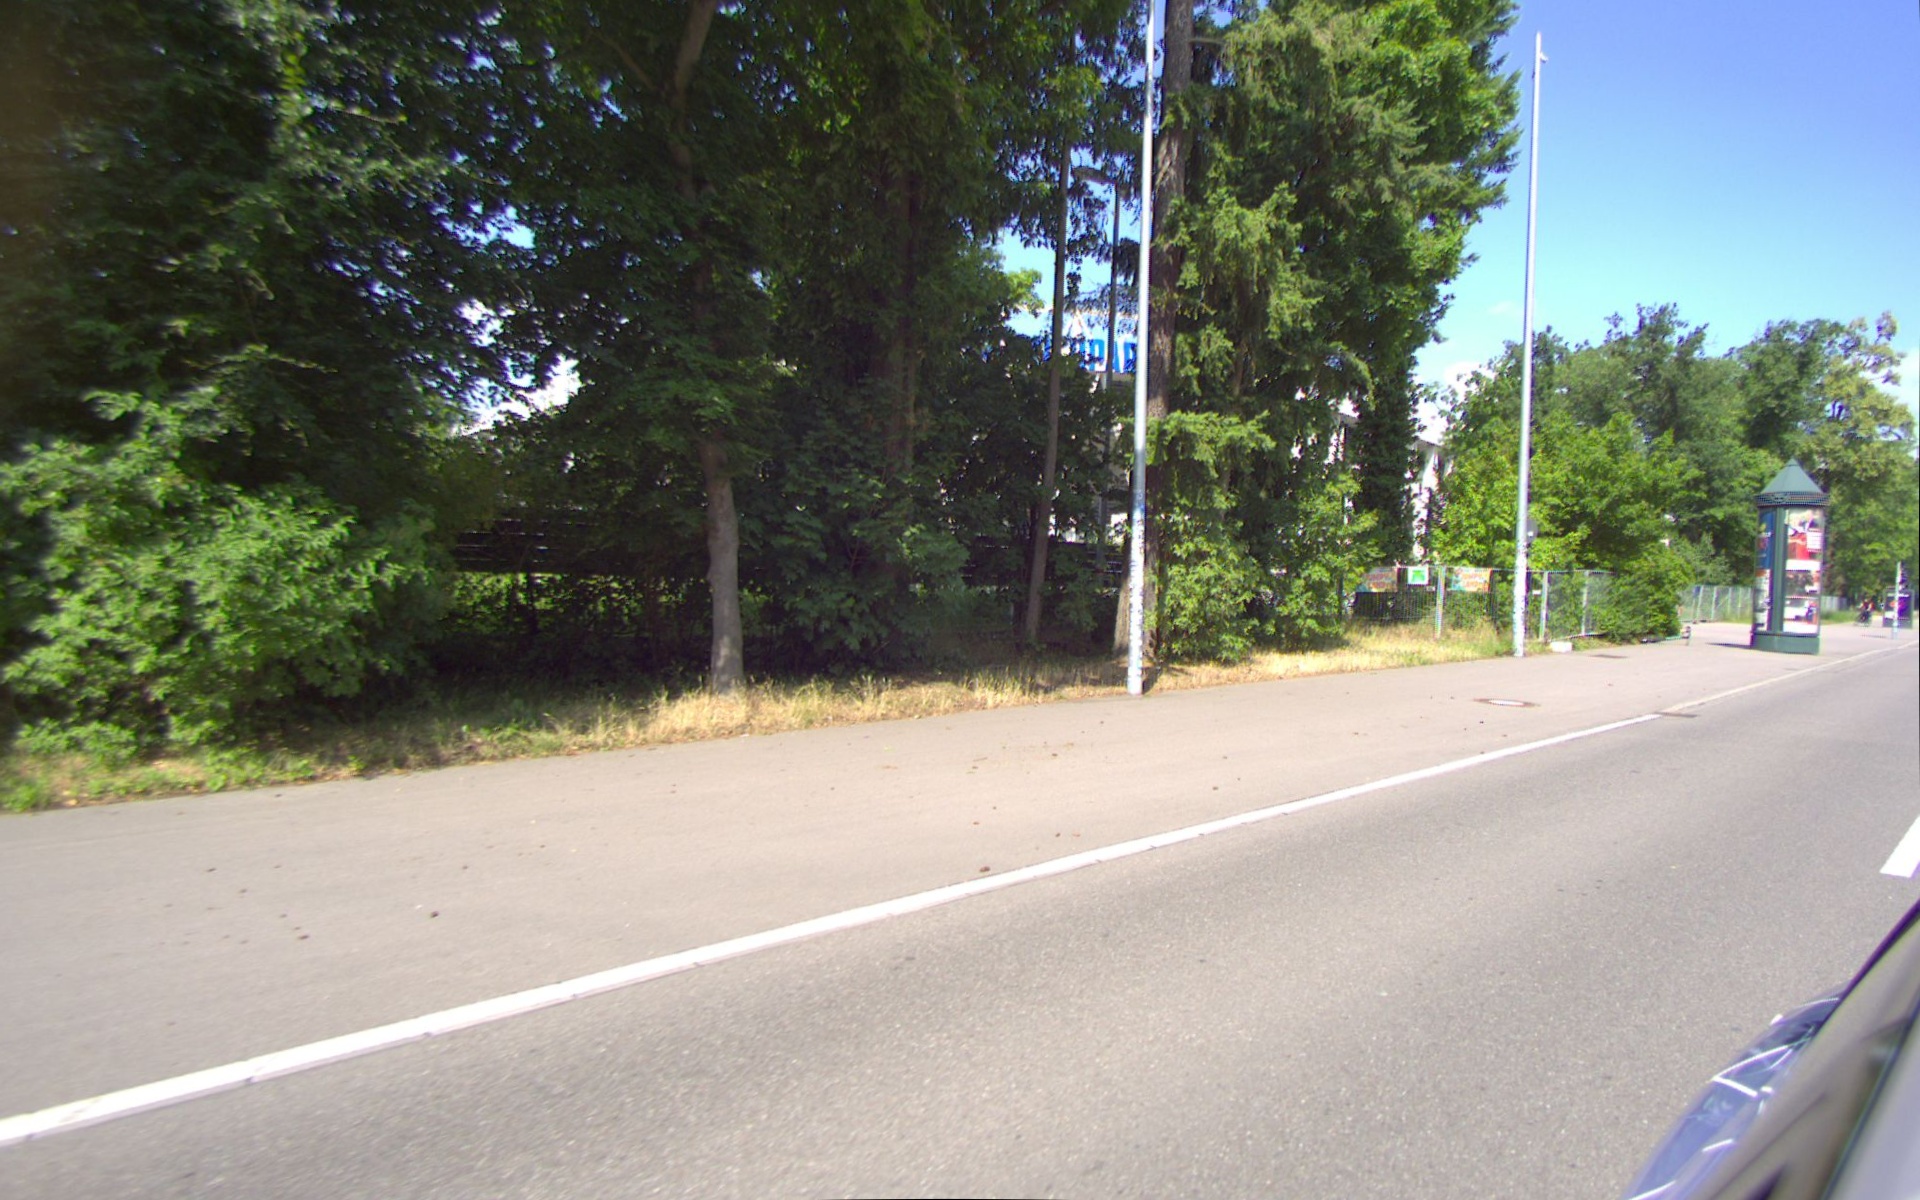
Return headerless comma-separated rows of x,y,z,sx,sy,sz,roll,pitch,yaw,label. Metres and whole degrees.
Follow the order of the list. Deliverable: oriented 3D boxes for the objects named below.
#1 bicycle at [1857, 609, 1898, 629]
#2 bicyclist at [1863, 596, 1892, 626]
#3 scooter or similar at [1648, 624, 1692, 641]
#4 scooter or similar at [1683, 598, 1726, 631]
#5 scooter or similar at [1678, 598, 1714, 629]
56.721,1.180,62.574,1.858,1.221,0.885,1,0,-10,bicycle
56.733,0.686,62.579,0.958,1.820,0.889,1,0,-8,bicyclist
21.590,0.994,30.769,1.450,0.393,0.854,-1,4,-45,scooter or similar
30.084,0.578,40.901,1.306,1.267,0.401,3,2,41,scooter or similar
29.780,0.550,40.942,1.284,1.215,0.408,2,1,-16,scooter or similar
